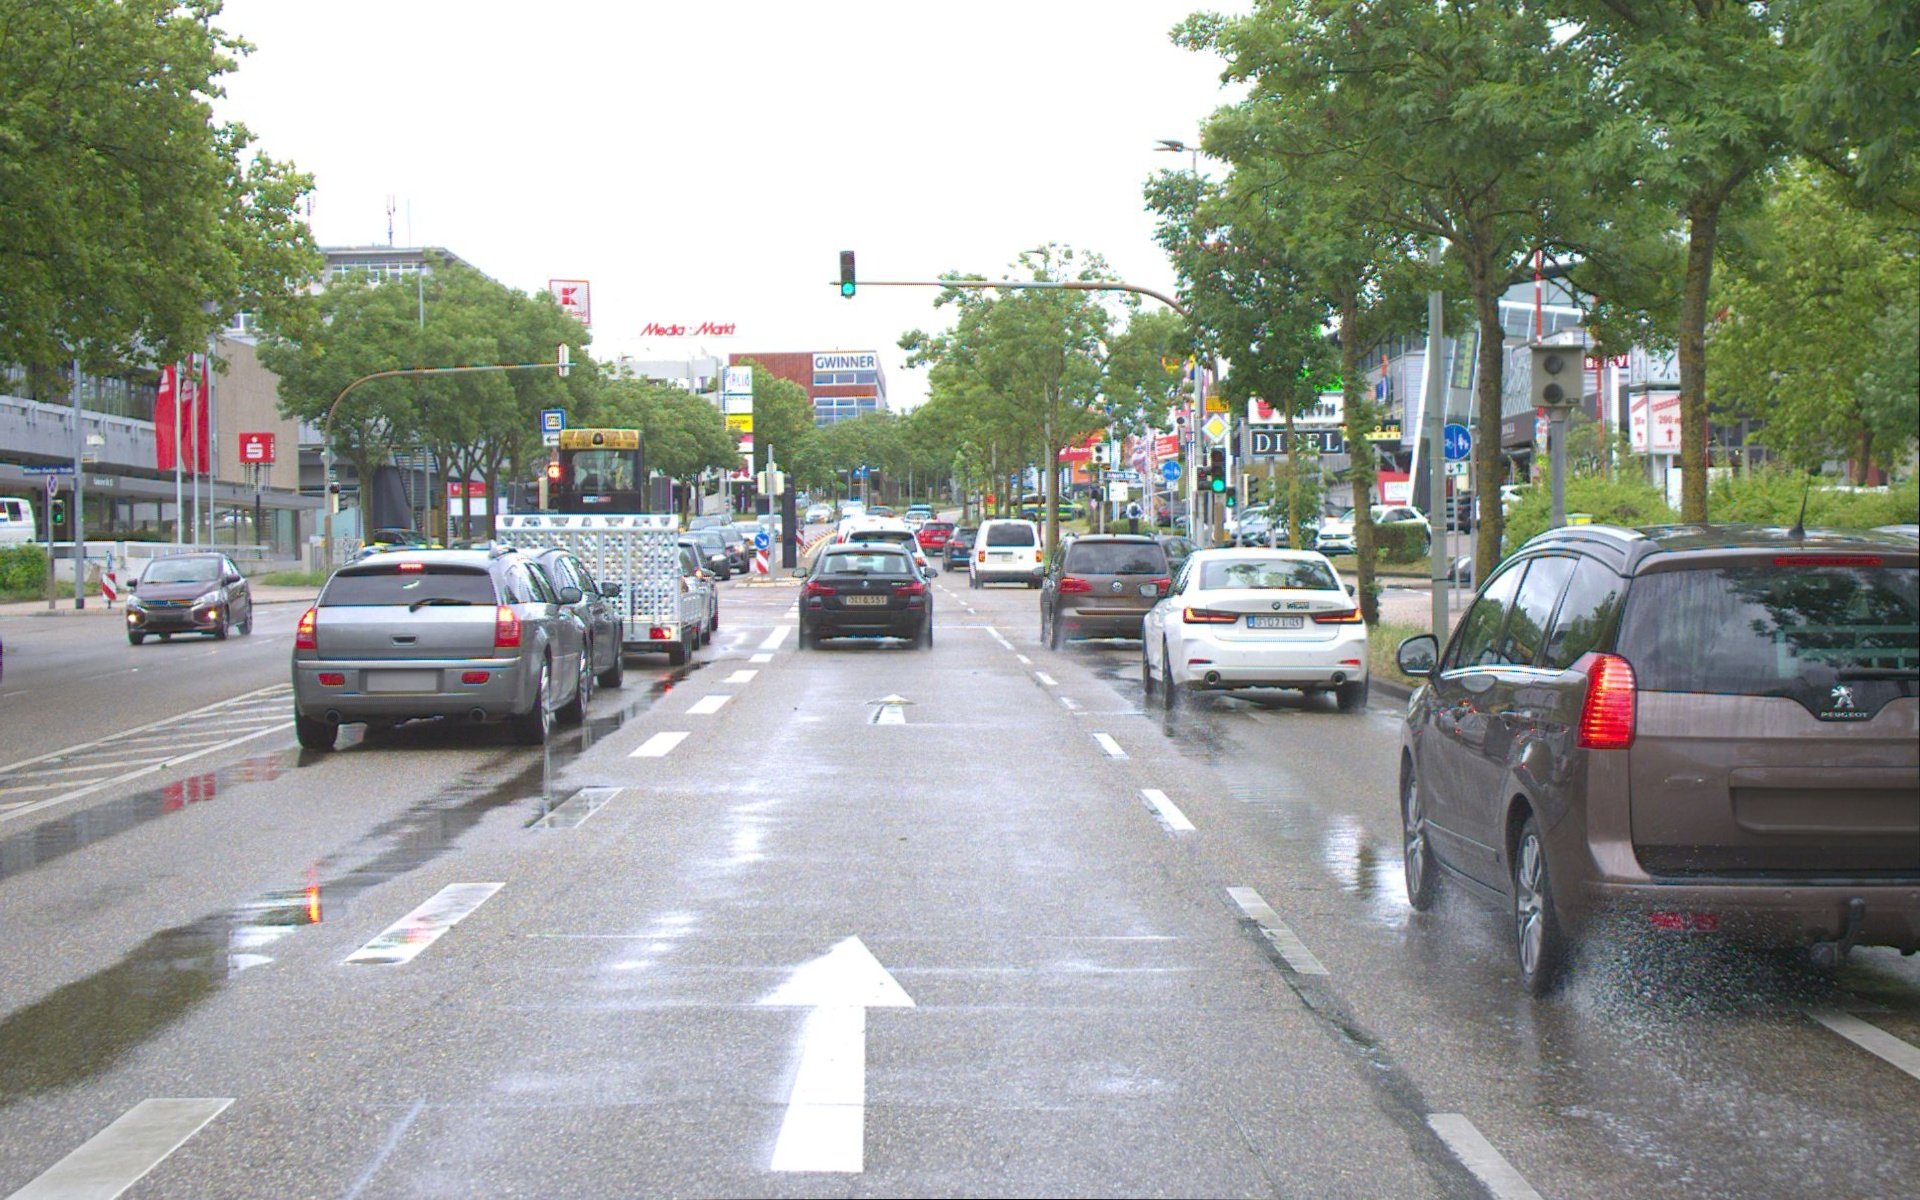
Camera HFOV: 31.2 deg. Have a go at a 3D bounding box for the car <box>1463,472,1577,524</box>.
[{"bbox_3d":[20.114,-3.670,123.459,4.142,1.765,1.737,-2,2,-40],"label":"car"}]

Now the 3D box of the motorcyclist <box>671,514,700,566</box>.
[{"bbox_3d":[-8.355,-1.828,104.649,0.806,1.553,1.268,-1,2,-3],"label":"motorcyclist"}]

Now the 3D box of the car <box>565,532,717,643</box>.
[{"bbox_3d":[-4.443,-0.214,48.423,1.765,1.453,4.781,-1,1,-1],"label":"car"}]

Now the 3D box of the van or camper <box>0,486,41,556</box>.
[{"bbox_3d":[-28.130,-2.279,99.266,1.993,1.960,4.789,1,0,-1],"label":"van or camper"}]

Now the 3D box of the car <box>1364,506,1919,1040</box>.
[{"bbox_3d":[2.669,0.481,12.760,1.726,1.619,4.471,-1,1,-1],"label":"car"}]

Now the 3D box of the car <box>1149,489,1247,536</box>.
[{"bbox_3d":[10.359,-3.815,149.716,4.111,1.898,1.800,-1,2,1],"label":"car"}]

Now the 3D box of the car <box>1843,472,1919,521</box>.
[{"bbox_3d":[29.722,-3.220,106.859,1.733,1.475,4.152,-2,2,-41],"label":"car"}]

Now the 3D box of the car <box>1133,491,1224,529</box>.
[{"bbox_3d":[9.998,-4.108,156.975,4.111,1.697,1.799,0,2,5],"label":"car"}]

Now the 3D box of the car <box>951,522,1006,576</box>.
[{"bbox_3d":[0.580,-1.627,110.548,1.685,1.678,3.403,1,0,0],"label":"car"}]

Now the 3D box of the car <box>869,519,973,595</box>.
[{"bbox_3d":[-0.773,-0.843,65.481,1.682,1.372,4.001,-1,1,-4],"label":"car"}]

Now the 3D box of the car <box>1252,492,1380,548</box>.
[{"bbox_3d":[11.865,-2.669,114.495,4.016,1.657,1.982,-5,3,-40],"label":"car"}]

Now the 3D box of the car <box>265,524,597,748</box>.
[{"bbox_3d":[-4.066,0.212,27.212,1.907,1.573,4.881,-1,1,-1],"label":"car"}]

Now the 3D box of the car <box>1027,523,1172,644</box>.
[{"bbox_3d":[1.922,-0.272,48.581,1.801,1.581,4.451,1,1,-1],"label":"car"}]

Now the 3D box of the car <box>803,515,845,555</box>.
[{"bbox_3d":[-7.073,-3.349,178.888,1.993,2.007,4.000,1,0,0],"label":"car"}]

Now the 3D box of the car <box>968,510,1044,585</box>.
[{"bbox_3d":[1.168,-1.386,89.284,1.781,1.860,4.000,-1,1,-2],"label":"car"}]

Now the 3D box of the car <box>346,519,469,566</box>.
[{"bbox_3d":[-19.451,-2.005,120.979,3.994,1.546,1.896,0,2,34],"label":"car"}]

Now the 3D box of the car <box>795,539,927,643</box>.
[{"bbox_3d":[-1.388,-0.155,48.278,1.781,1.393,4.000,0,1,-2],"label":"car"}]

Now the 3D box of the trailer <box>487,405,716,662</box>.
[{"bbox_3d":[-4.298,-0.811,42.084,2.372,2.887,5.546,-1,1,-2],"label":"trailer"}]

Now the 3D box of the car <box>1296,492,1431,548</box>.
[{"bbox_3d":[12.044,-2.394,102.516,1.930,1.571,4.278,0,2,41],"label":"car"}]

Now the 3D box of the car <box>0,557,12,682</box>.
[{"bbox_3d":[-12.048,0.278,38.752,1.709,1.460,4.086,-2,1,-2],"label":"car"}]

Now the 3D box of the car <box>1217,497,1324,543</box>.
[{"bbox_3d":[10.862,-2.787,120.231,3.589,1.530,1.643,-2,2,-40],"label":"car"}]

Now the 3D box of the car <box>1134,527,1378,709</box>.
[{"bbox_3d":[2.676,0.111,31.983,1.801,1.539,4.620,1,1,-1],"label":"car"}]

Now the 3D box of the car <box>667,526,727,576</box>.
[{"bbox_3d":[-7.665,-1.437,100.055,1.682,1.372,4.001,-1,1,-4],"label":"car"}]

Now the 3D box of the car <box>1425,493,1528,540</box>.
[{"bbox_3d":[19.548,-3.172,130.141,3.964,1.714,1.633,-2,2,-40],"label":"car"}]

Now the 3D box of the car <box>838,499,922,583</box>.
[{"bbox_3d":[-1.963,-1.442,84.871,1.993,2.007,4.000,1,0,-1],"label":"car"}]

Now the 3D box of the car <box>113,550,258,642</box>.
[{"bbox_3d":[-13.313,-0.096,59.285,1.709,1.460,4.086,-2,1,-2],"label":"car"}]

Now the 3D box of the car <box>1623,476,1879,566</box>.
[{"bbox_3d":[13.467,-1.354,58.666,3.987,1.437,1.655,-1,1,1],"label":"car"}]

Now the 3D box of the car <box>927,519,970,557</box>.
[{"bbox_3d":[-0.469,-2.503,139.422,1.695,1.438,3.989,-1,0,0],"label":"car"}]
